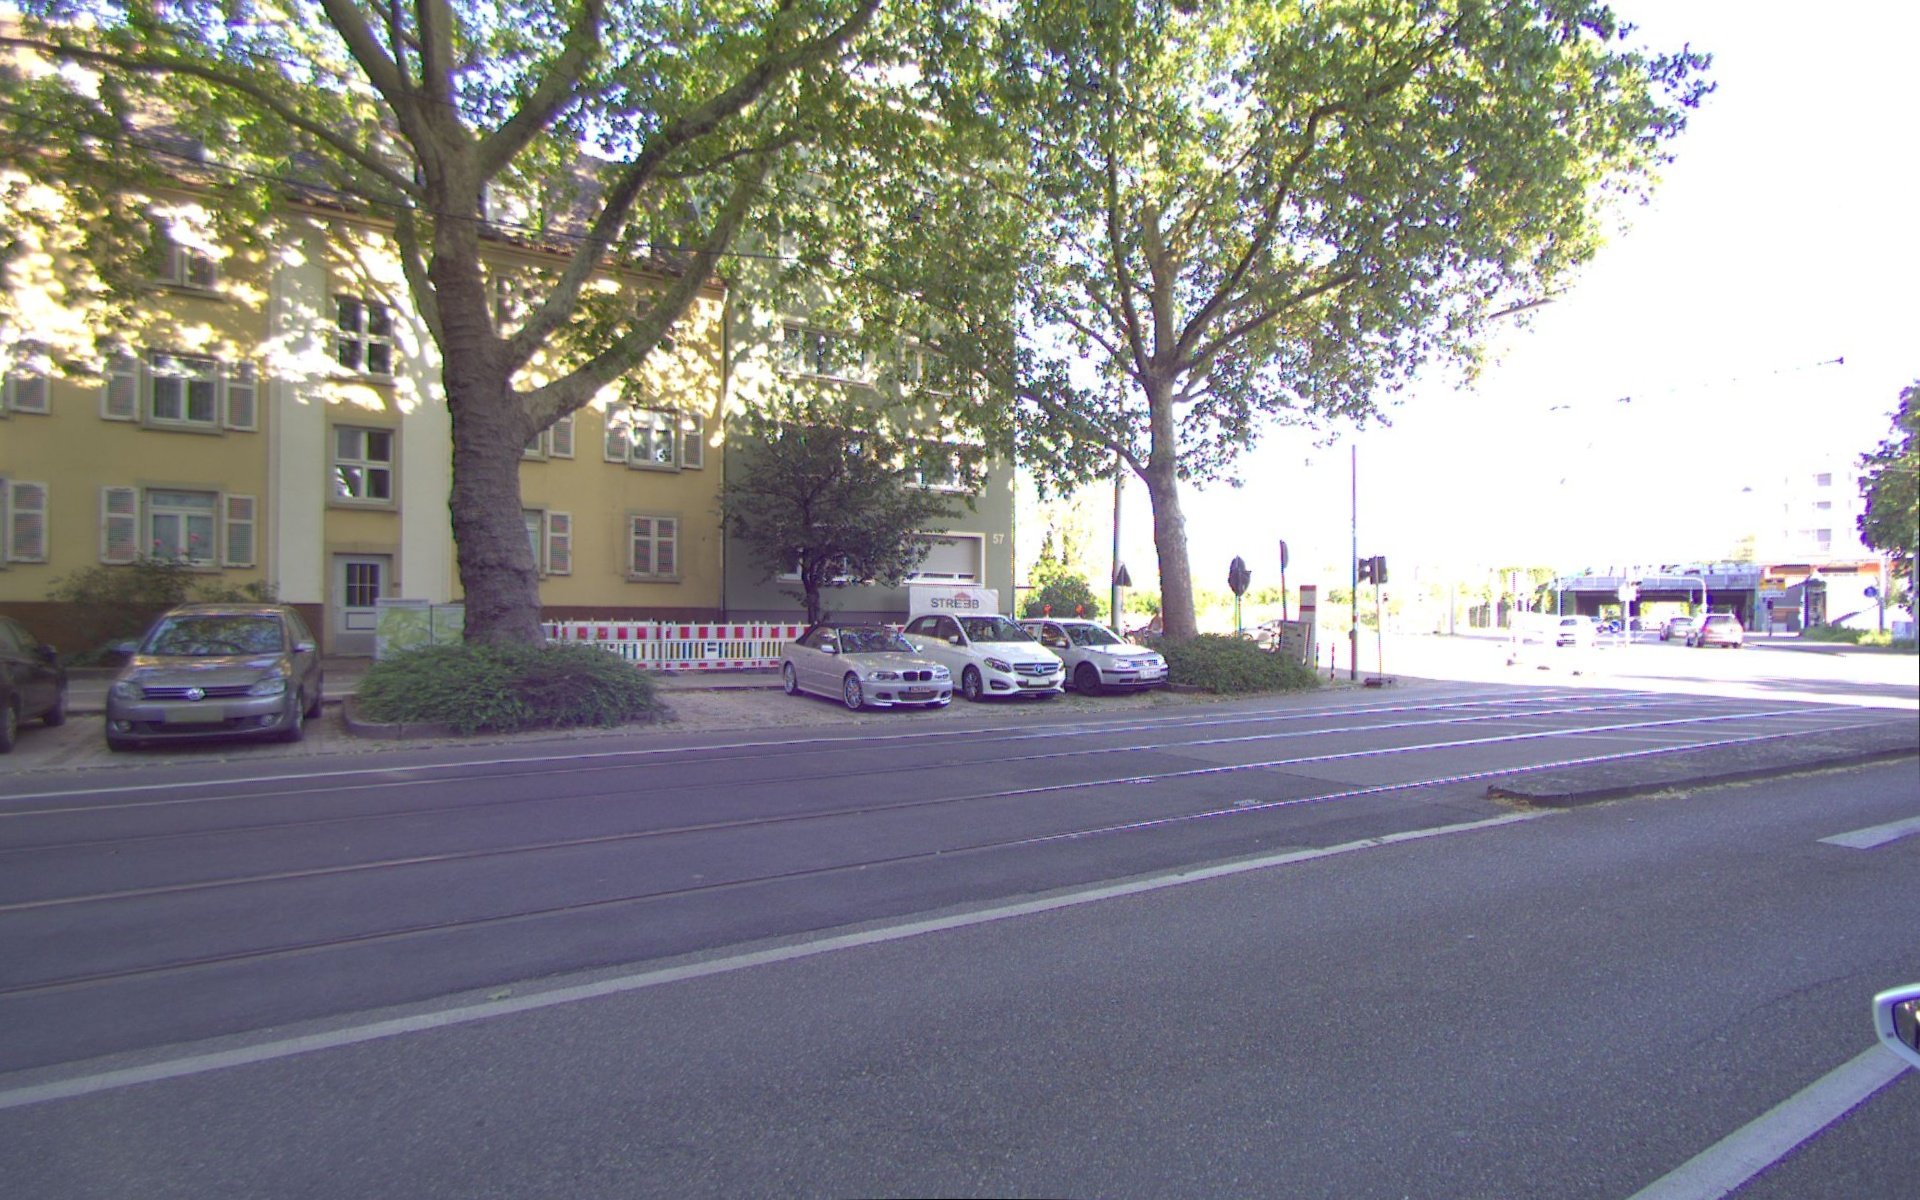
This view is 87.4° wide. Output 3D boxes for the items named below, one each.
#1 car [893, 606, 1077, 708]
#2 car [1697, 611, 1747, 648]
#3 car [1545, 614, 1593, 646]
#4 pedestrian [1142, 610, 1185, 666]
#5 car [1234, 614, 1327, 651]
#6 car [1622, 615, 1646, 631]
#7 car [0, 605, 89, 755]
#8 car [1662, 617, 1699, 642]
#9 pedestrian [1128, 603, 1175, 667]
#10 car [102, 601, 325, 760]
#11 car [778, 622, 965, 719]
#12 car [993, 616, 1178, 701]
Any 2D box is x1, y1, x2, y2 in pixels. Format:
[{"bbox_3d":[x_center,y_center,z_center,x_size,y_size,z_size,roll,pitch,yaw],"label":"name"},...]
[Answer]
[{"bbox_3d":[0.360,0.985,19.158,1.651,1.669,3.949,1,0,-31],"label":"car"},{"bbox_3d":[40.898,1.565,53.992,1.883,1.906,4.831,0,-1,34],"label":"car"},{"bbox_3d":[33.527,1.629,55.240,1.860,1.606,3.823,2,0,37],"label":"car"},{"bbox_3d":[6.237,1.164,30.800,0.919,1.669,0.841,2,0,-30],"label":"pedestrian"},{"bbox_3d":[16.185,1.622,50.692,4.278,1.788,1.987,0,-1,25],"label":"car"},{"bbox_3d":[70.372,2.414,104.795,1.860,1.606,3.823,2,0,37],"label":"car"},{"bbox_3d":[-11.454,0.835,11.388,1.652,1.518,3.778,1,0,-30],"label":"car"},{"bbox_3d":[47.574,1.954,66.366,1.773,1.539,4.195,2,0,33],"label":"car"},{"bbox_3d":[5.136,0.932,26.895,0.947,1.683,0.766,2,0,-39],"label":"pedestrian"},{"bbox_3d":[-8.989,0.835,12.419,1.652,1.602,3.953,1,0,-29],"label":"car"},{"bbox_3d":[-1.639,1.111,17.313,1.651,1.370,3.949,1,0,-31],"label":"car"},{"bbox_3d":[2.451,1.112,20.533,1.651,1.473,3.949,1,0,-31],"label":"car"}]
